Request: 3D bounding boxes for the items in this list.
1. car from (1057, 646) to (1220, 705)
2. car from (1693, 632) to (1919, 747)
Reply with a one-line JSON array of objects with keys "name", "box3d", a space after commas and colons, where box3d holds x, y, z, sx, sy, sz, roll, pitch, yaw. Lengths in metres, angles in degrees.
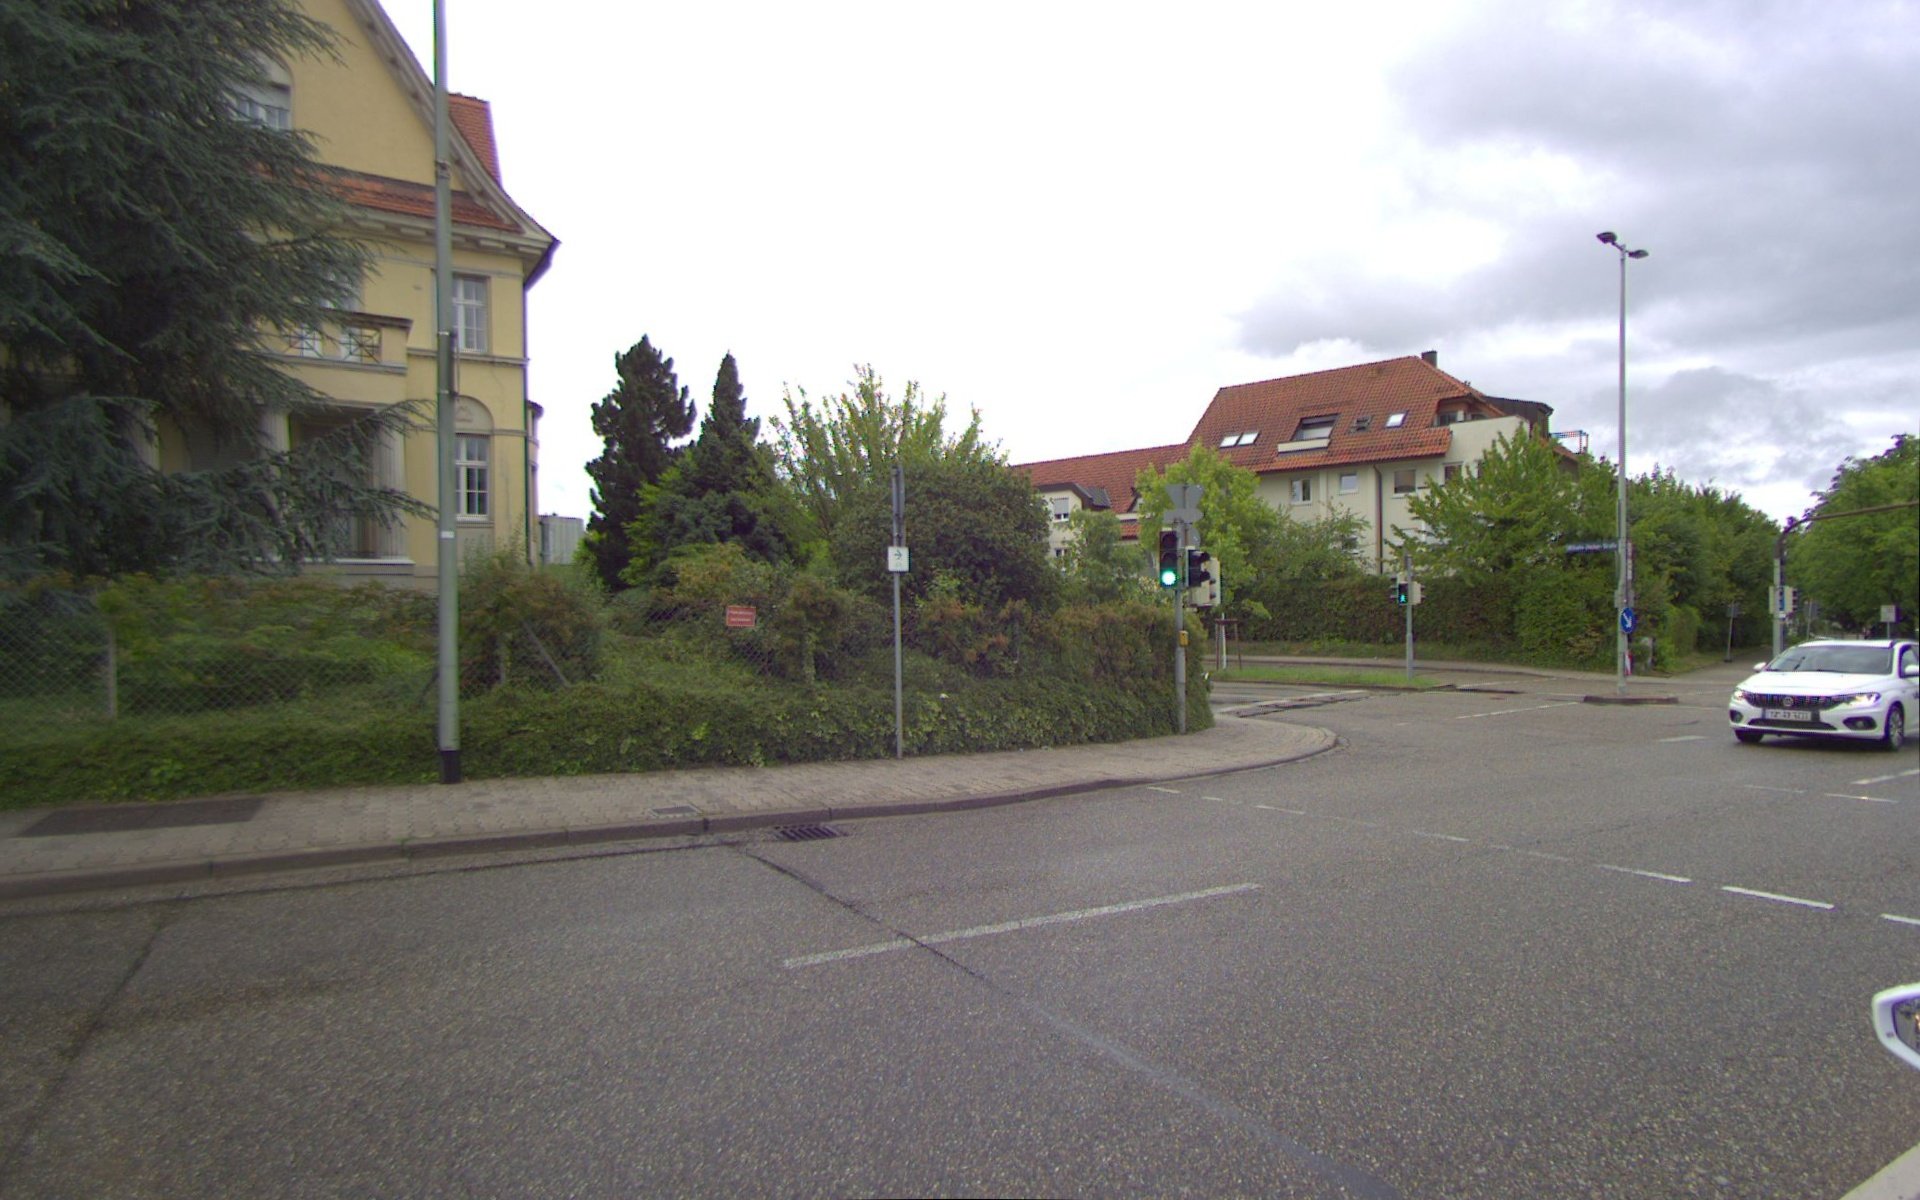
[{"name": "car", "box3d": [4.741, 1.985, 27.234, 1.758, 1.411, 4.393, -1, -2, -35]}, {"name": "car", "box3d": [12.922, 1.280, 14.784, 4.259, 1.473, 1.958, 3, -3, -31]}]
